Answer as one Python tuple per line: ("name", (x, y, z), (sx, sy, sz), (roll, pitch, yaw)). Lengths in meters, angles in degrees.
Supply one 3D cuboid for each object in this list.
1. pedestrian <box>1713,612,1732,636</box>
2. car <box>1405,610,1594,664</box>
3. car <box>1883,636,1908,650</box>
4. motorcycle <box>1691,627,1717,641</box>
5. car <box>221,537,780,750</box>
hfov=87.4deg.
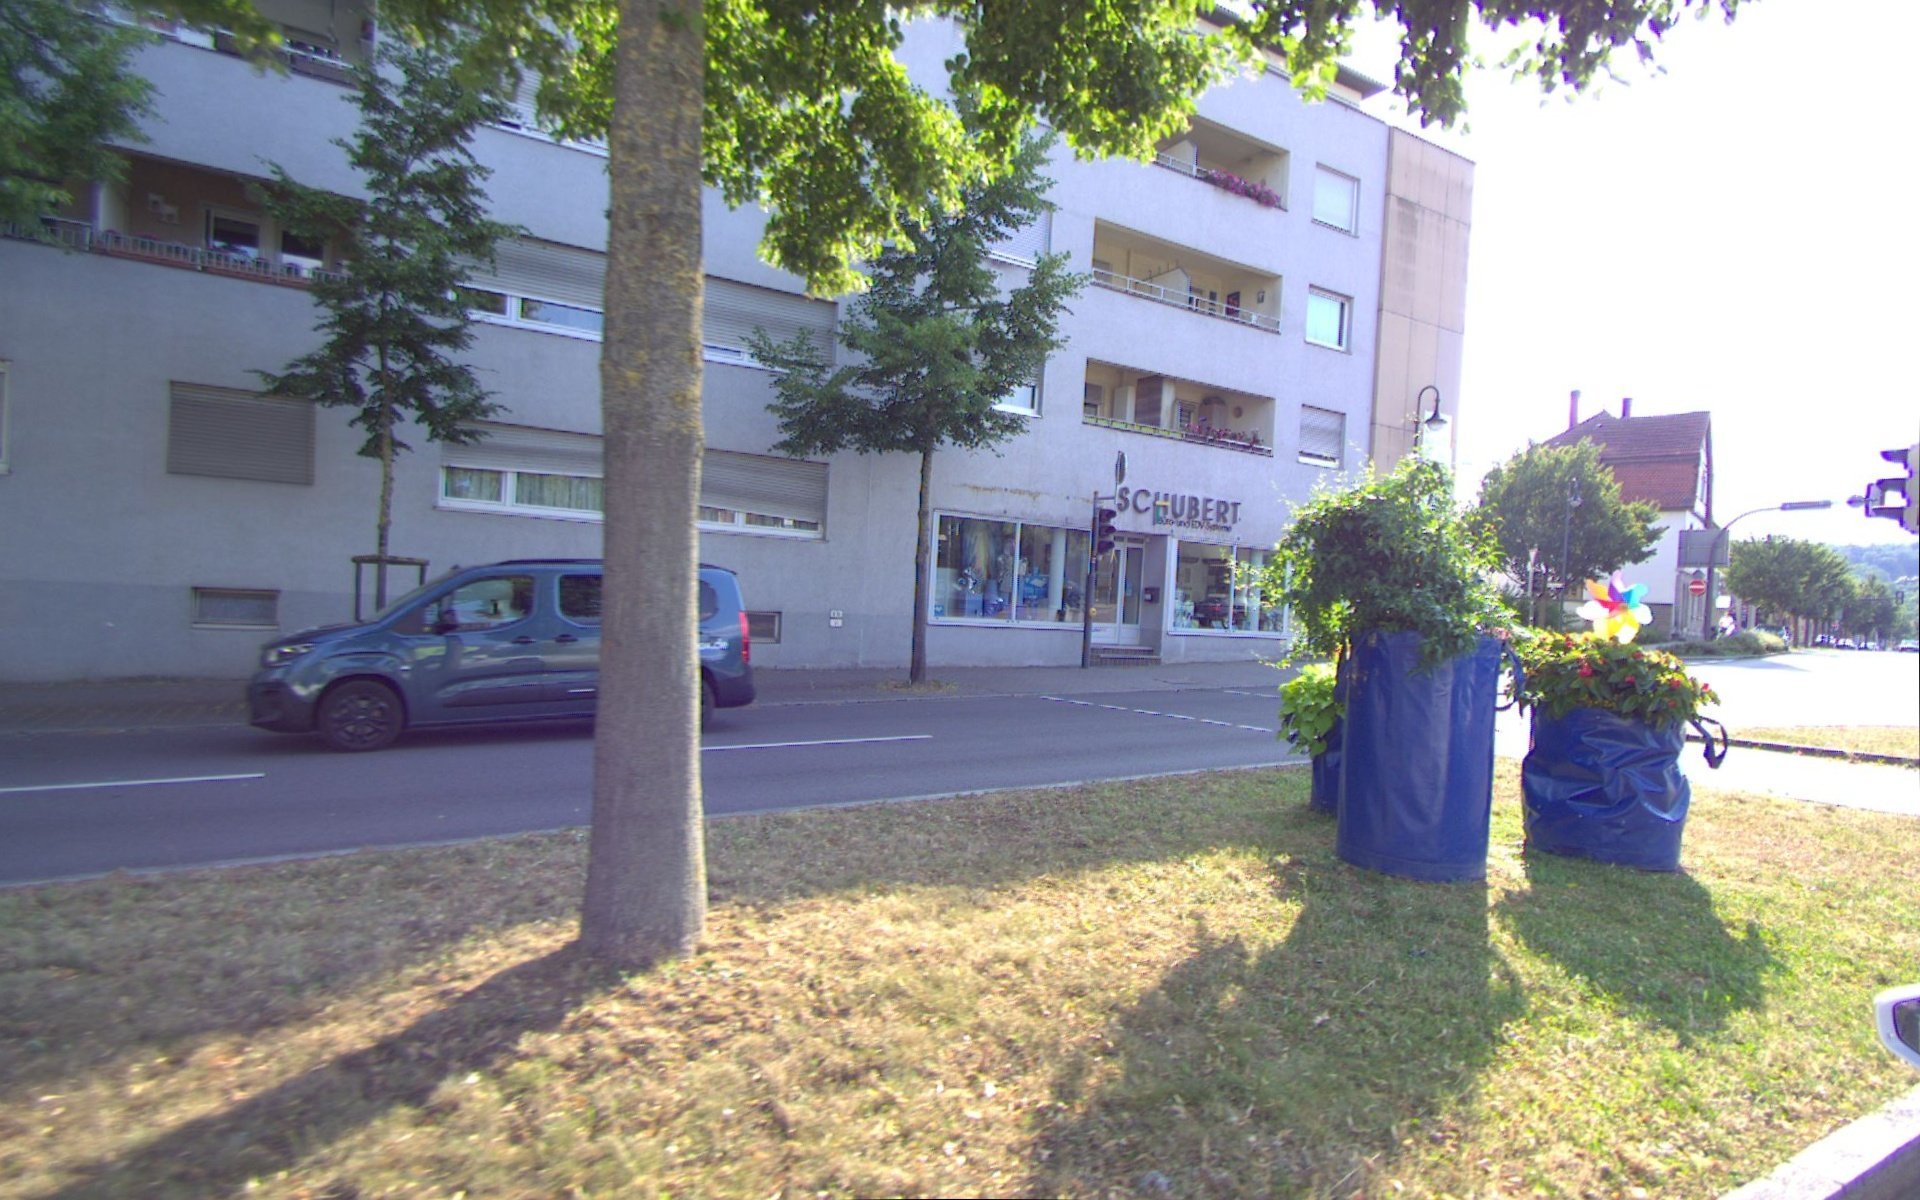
("pedestrian", (45.289, 1.433, 59.645), (0.803, 1.413, 0.703), (2, 0, 43))
("car", (16.622, 1.093, 31.188), (1.900, 1.456, 4.821), (2, -1, -38))
("car", (99.343, 4.559, 106.683), (4.456, 1.379, 1.738), (2, 0, -45))
("motorcycle", (60.621, 2.750, 81.837), (1.836, 1.083, 0.516), (2, 0, -10))
("car", (-4.514, 0.427, 10.403), (4.868, 1.759, 1.842), (2, -1, -32))
